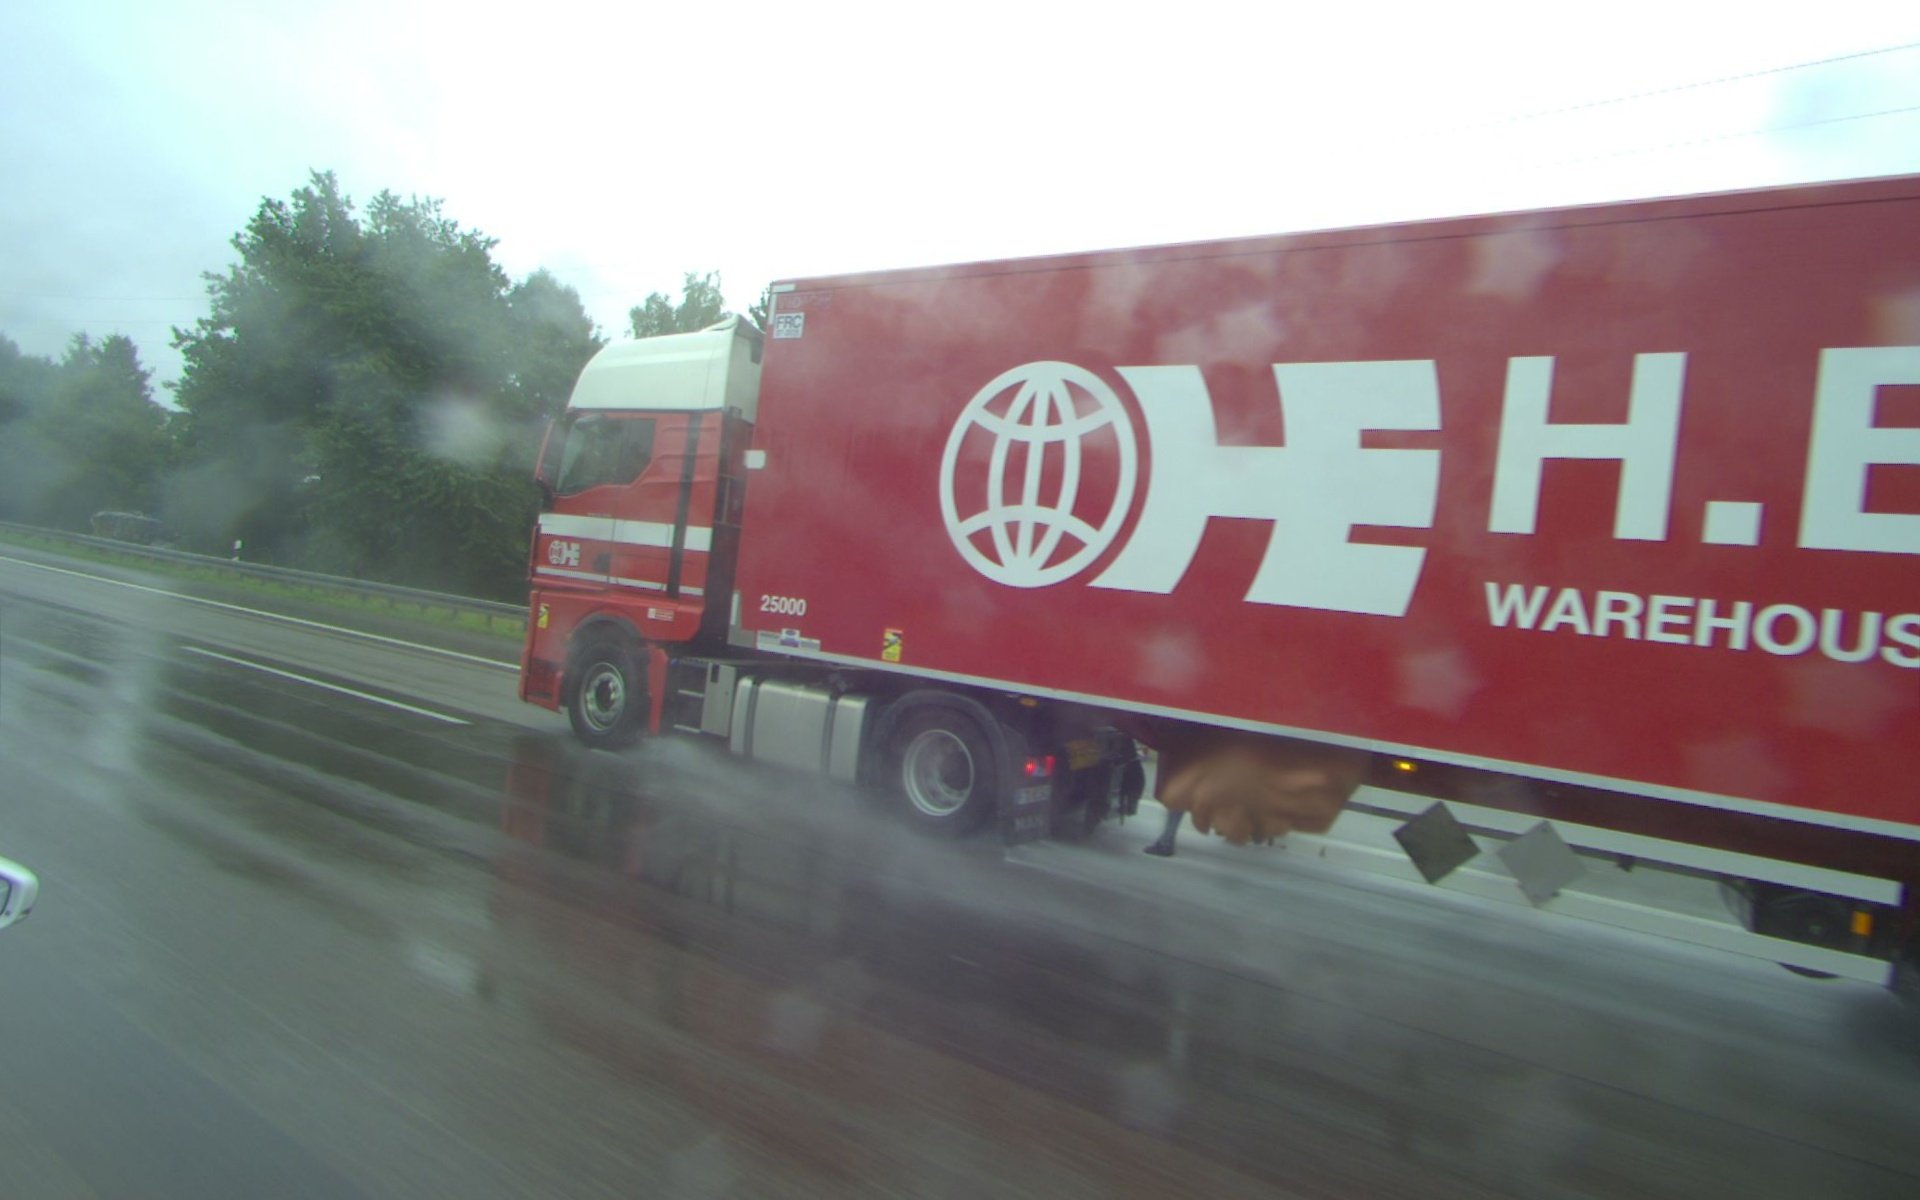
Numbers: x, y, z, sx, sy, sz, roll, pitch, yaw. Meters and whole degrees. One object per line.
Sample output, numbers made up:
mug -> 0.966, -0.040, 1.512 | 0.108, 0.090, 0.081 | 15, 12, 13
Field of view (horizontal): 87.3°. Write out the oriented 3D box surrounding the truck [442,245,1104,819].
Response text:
truck -> -1.848, -0.605, 9.485 | 5.342, 4.002, 2.625 | 7, -1, 31

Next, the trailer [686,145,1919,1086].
trailer -> 4.394, 0.103, 5.633 | 13.404, 4.002, 2.625 | 6, -1, 32
